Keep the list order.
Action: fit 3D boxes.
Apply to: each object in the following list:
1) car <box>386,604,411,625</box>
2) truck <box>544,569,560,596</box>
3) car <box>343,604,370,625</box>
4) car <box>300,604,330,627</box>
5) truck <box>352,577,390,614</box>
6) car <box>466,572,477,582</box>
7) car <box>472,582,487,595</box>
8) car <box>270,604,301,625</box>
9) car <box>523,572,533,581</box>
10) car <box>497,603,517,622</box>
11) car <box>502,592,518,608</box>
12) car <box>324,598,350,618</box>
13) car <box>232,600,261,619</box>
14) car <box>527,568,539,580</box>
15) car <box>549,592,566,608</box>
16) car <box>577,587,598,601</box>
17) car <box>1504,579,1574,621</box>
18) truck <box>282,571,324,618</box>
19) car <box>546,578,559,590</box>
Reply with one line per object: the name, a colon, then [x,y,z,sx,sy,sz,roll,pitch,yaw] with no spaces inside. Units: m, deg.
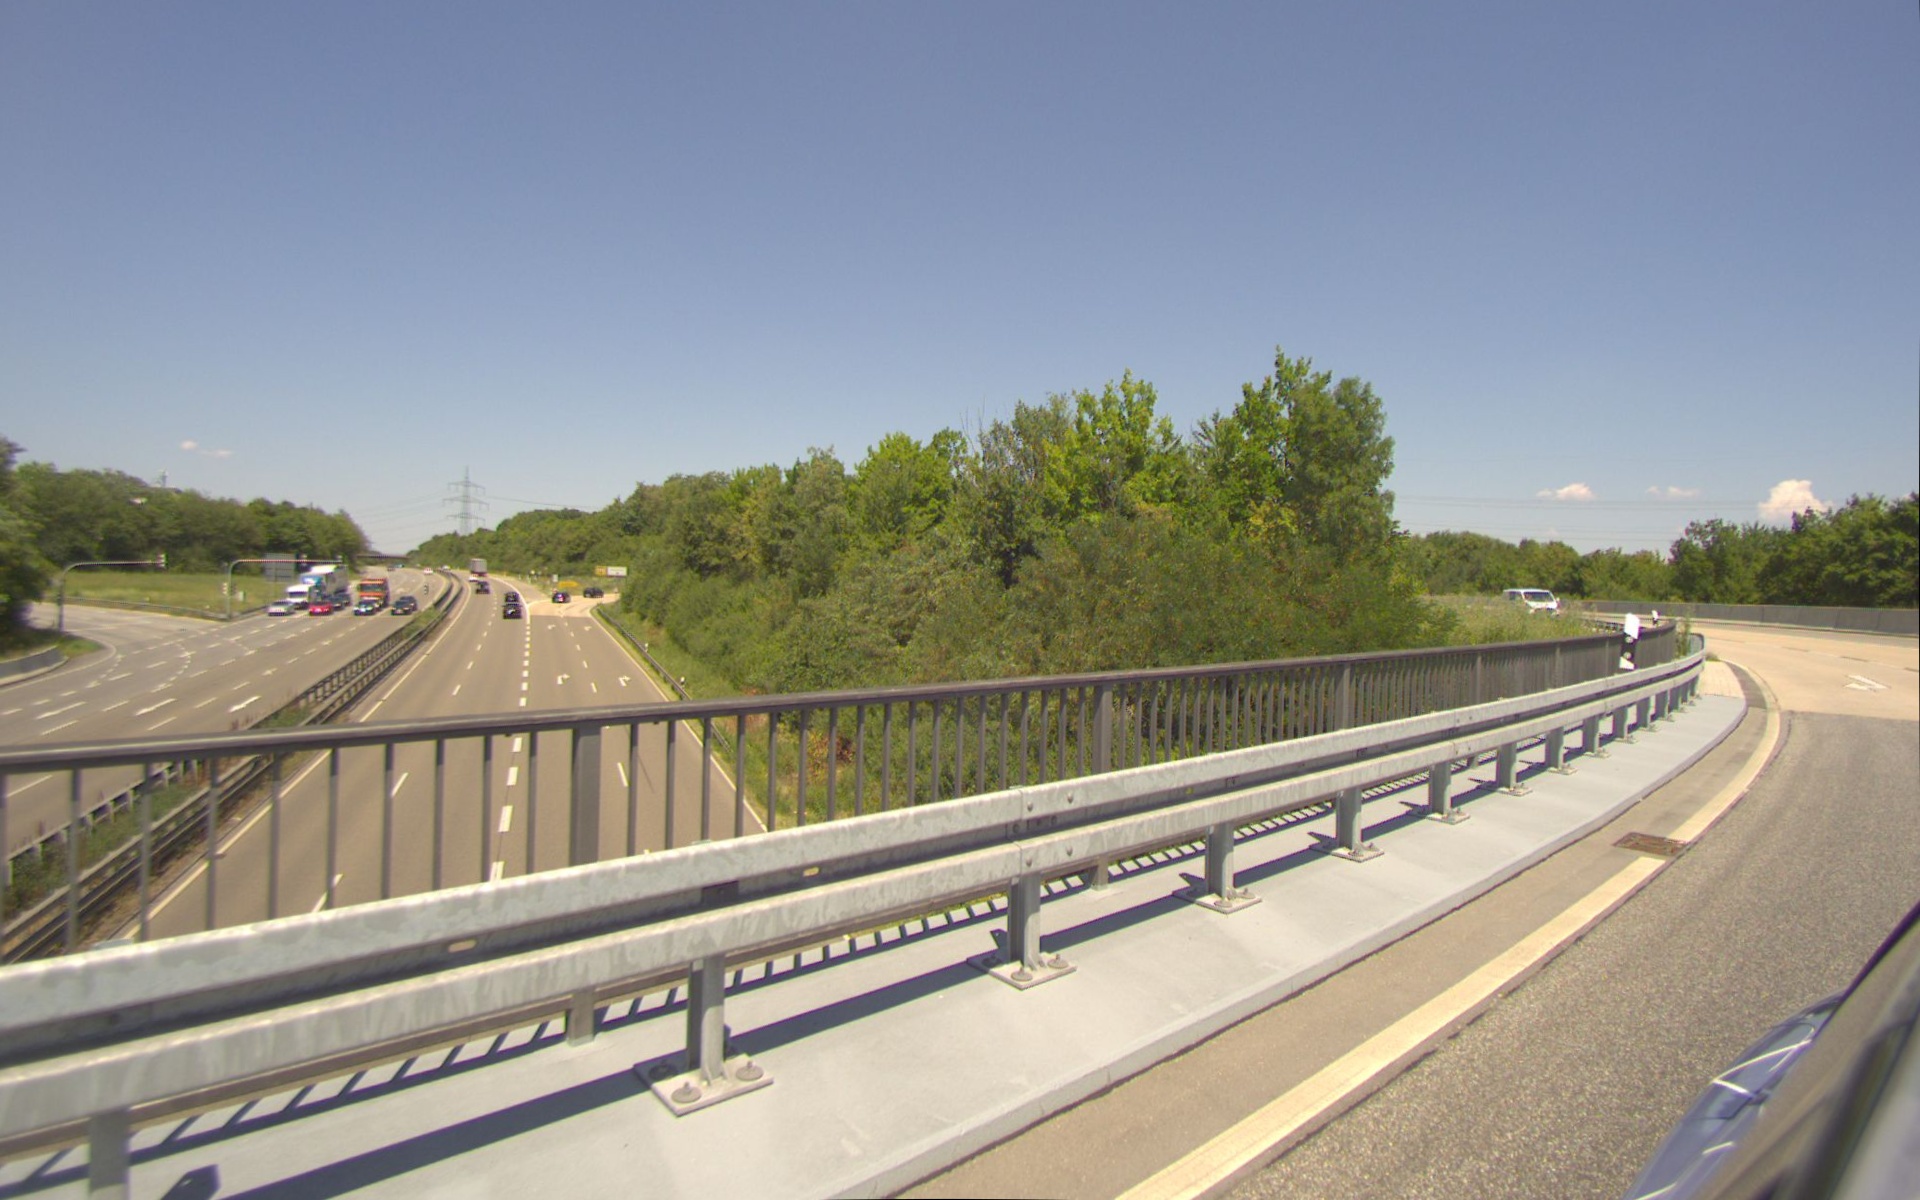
car: [-58.912,1.455,106.238,1.958,2.039,4.008,0,1,-24]
truck: [-61.646,-2.661,152.847,1.958,4.000,9.101,0,1,-24]
car: [-62.142,1.463,104.233,1.958,2.039,4.008,0,1,-24]
car: [-65.762,1.538,103.212,1.943,2.237,4.008,0,1,-24]
truck: [-67.555,-0.640,116.199,2.656,4.060,8.901,0,1,-23]
car: [-98.903,-4.666,204.815,1.959,2.039,4.008,0,1,-24]
car: [-74.144,-1.804,156.268,1.958,2.039,4.008,0,1,-24]
car: [-68.411,1.452,102.661,1.958,2.039,4.008,0,1,-24]
car: [-86.999,-4.744,203.837,1.958,1.761,4.008,0,1,-24]
car: [-47.830,1.300,106.880,1.958,1.880,4.008,0,1,-24]
car: [-60.086,-0.054,135.151,1.958,2.039,4.008,0,1,-24]
car: [-68.080,0.858,110.613,1.958,2.039,4.008,0,1,-24]
car: [-79.848,1.030,113.304,1.958,1.944,4.008,0,1,-24]
car: [-78.679,-4.772,186.386,1.958,2.039,4.008,0,1,-24]
car: [-55.088,0.006,138.428,1.958,2.039,4.008,0,1,-24]
car: [-56.138,-0.871,152.557,1.961,2.039,4.003,0,1,-3]
car: [34.311,-0.059,60.128,2.002,2.109,5.851,1,3,14]
truck: [-74.107,-0.721,114.387,2.524,5.072,12.427,0,1,-26]
car: [-70.265,-2.818,174.322,1.958,2.039,4.008,0,1,-24]
